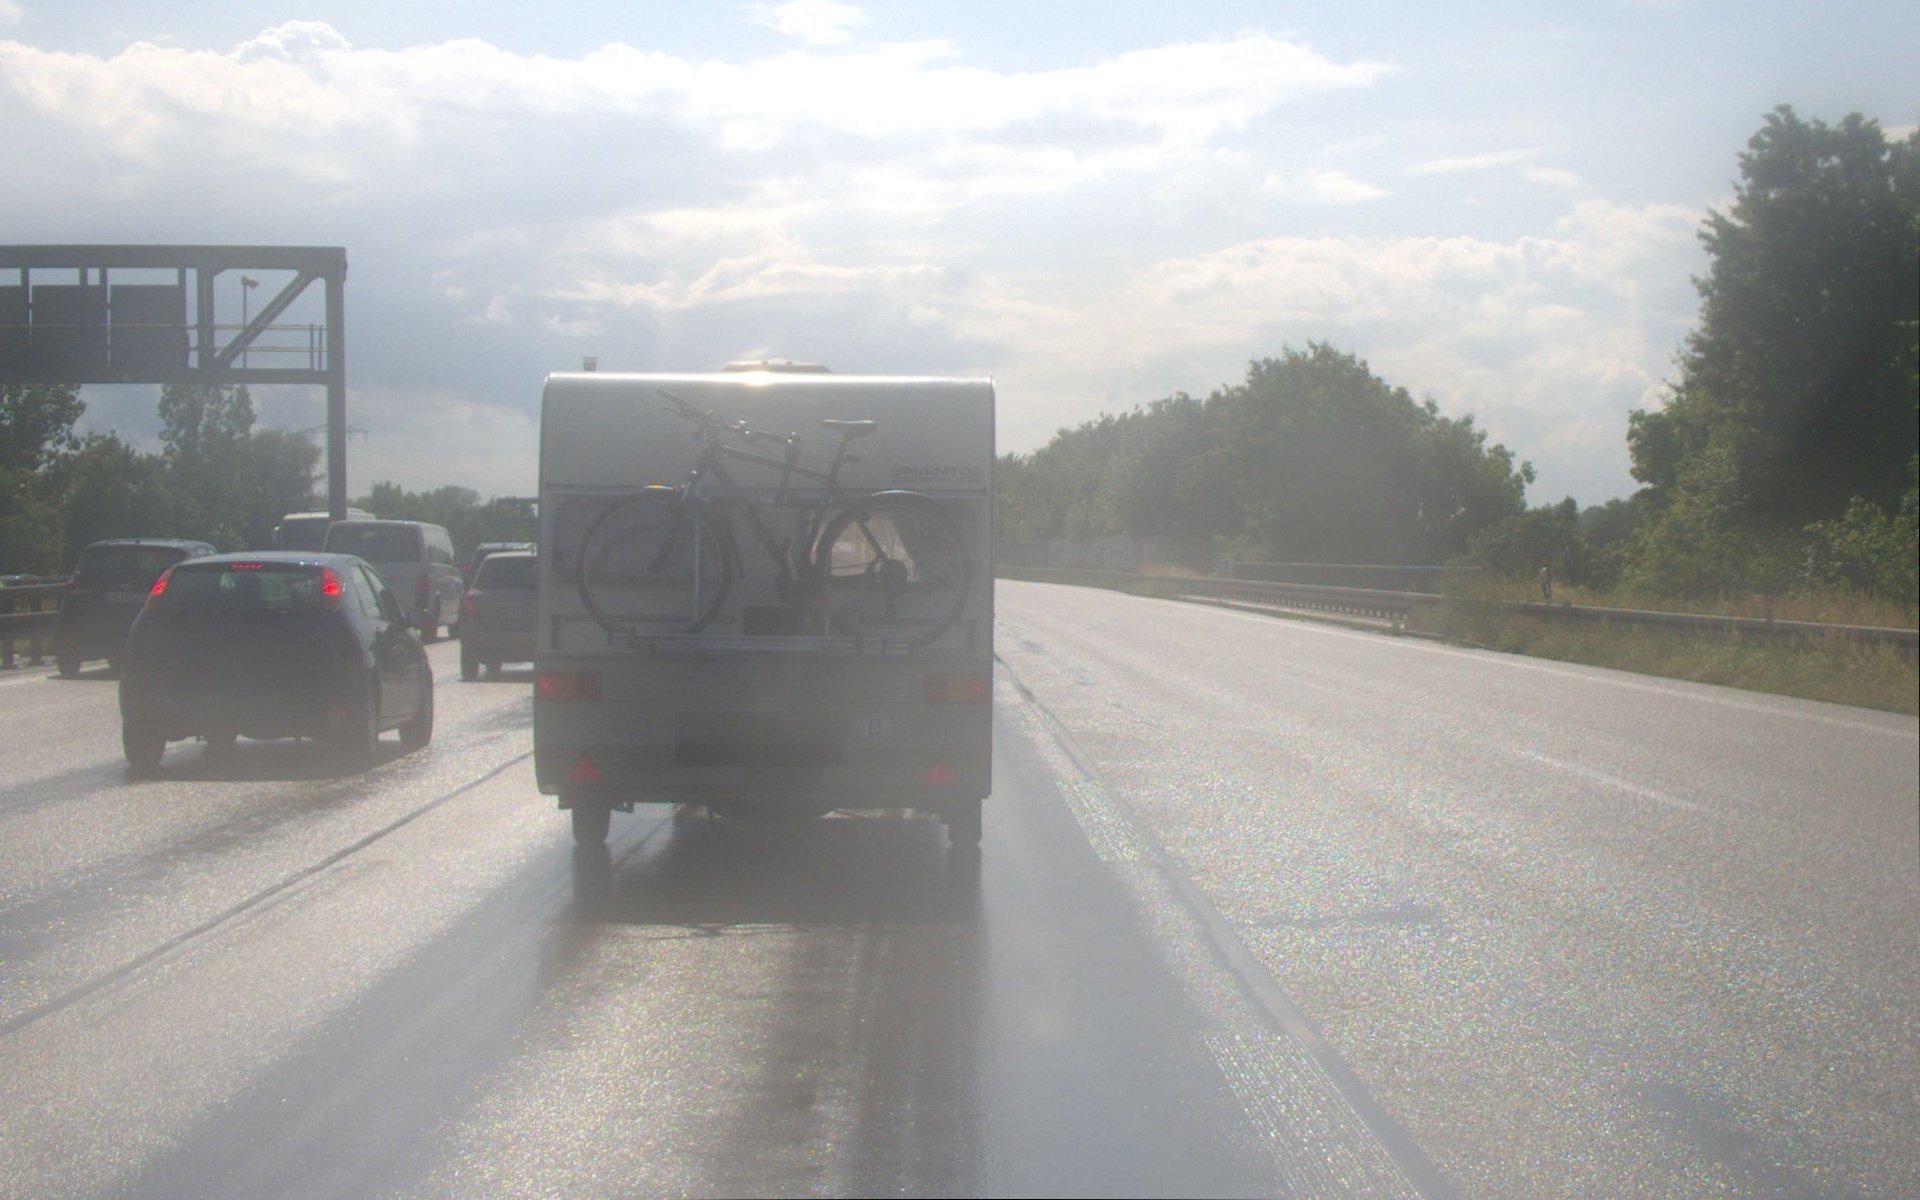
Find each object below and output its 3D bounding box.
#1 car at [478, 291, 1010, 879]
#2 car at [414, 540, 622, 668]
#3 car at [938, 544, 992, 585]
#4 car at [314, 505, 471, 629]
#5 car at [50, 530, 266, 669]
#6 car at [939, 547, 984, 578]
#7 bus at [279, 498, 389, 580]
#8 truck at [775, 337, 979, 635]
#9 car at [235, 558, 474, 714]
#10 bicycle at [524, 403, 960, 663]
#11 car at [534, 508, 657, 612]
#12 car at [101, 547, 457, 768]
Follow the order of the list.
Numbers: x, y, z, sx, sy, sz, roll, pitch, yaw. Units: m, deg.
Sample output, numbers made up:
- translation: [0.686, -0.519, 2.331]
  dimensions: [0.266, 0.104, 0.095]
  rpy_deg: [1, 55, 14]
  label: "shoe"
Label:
- translation: [-0.985, -0.092, 17.765]
  dimensions: [2.410, 2.665, 4.000]
  rpy_deg: [1, 1, 0]
  label: "car"
- translation: [-5.261, 0.014, 41.377]
  dimensions: [1.987, 1.453, 3.826]
  rpy_deg: [0, 1, 0]
  label: "car"
- translation: [0.175, -1.413, 135.971]
  dimensions: [1.835, 1.552, 4.001]
  rpy_deg: [1, 1, -4]
  label: "car"
- translation: [-9.259, -0.564, 56.444]
  dimensions: [1.848, 1.927, 5.017]
  rpy_deg: [0, 1, -1]
  label: "car"
- translation: [-9.570, -0.041, 41.286]
  dimensions: [1.783, 1.573, 3.916]
  rpy_deg: [0, 1, -2]
  label: "car"
- translation: [0.062, -1.850, 169.641]
  dimensions: [1.876, 1.489, 4.001]
  rpy_deg: [1, 1, -4]
  label: "car"
- translation: [-26.095, -2.534, 143.761]
  dimensions: [2.939, 3.275, 12.213]
  rpy_deg: [0, 1, -3]
  label: "bus"
- translation: [-1.437, -1.855, 58.880]
  dimensions: [3.146, 4.610, 10.737]
  rpy_deg: [0, 1, -2]
  label: "truck"
- translation: [-6.203, 0.329, 35.602]
  dimensions: [1.863, 1.503, 4.000]
  rpy_deg: [0, 1, -2]
  label: "car"
- translation: [-0.977, -0.301, 15.558]
  dimensions: [1.934, 1.137, 0.384]
  rpy_deg: [1, 0, 1]
  label: "bicycle"
- translation: [-5.964, -0.664, 56.547]
  dimensions: [1.689, 1.656, 3.641]
  rpy_deg: [0, 1, -1]
  label: "car"
- translation: [-4.802, 0.350, 24.768]
  dimensions: [1.758, 1.438, 4.000]
  rpy_deg: [0, 1, 0]
  label: "car"
